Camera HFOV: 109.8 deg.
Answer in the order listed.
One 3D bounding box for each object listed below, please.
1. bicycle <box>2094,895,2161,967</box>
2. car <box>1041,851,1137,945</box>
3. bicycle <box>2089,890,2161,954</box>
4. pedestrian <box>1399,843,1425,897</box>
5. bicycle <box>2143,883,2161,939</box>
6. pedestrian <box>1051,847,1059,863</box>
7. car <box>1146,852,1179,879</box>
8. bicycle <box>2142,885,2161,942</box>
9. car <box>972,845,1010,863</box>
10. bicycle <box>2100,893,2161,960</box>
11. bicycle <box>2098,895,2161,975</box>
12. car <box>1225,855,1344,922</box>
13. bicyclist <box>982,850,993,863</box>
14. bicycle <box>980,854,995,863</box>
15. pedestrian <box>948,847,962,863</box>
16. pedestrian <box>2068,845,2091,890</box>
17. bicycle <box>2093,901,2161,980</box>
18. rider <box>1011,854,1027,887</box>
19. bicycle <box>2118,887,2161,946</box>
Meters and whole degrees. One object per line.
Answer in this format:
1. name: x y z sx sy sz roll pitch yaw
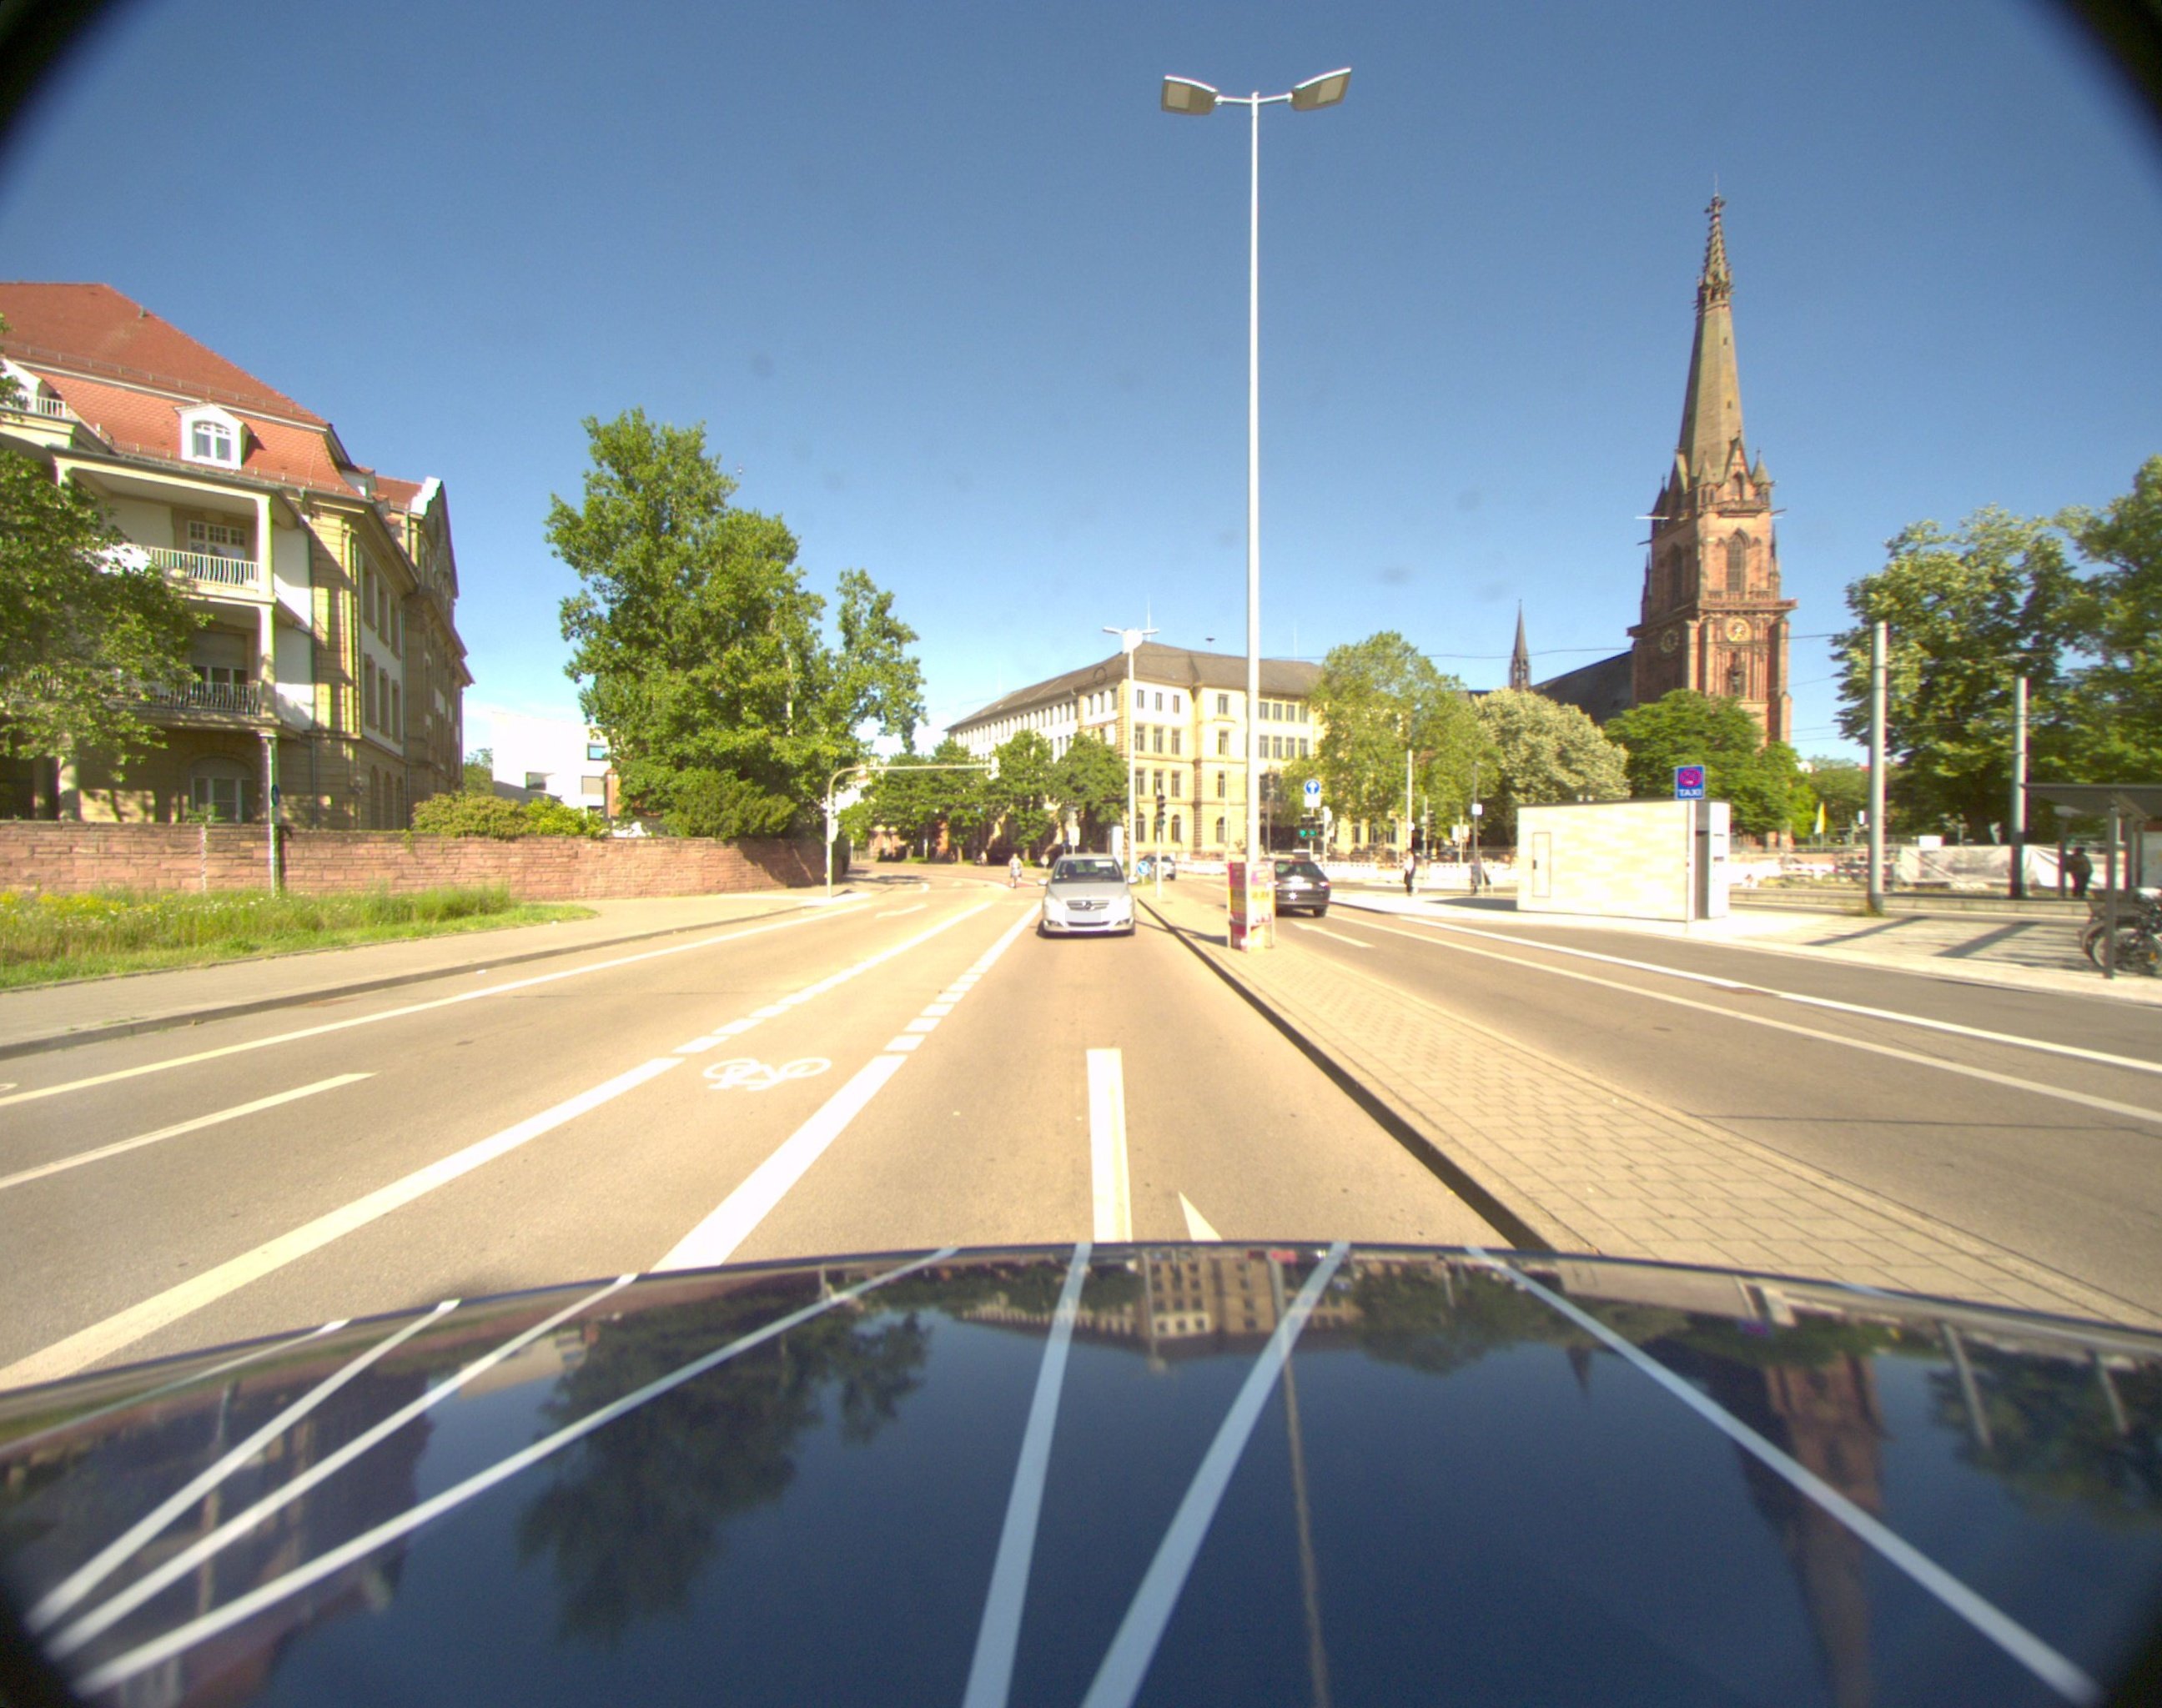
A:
1. bicycle: 16.063 1.150 10.976 0.458 1.003 1.667 -1 1 -33
2. car: 0.110 0.793 15.787 1.706 1.657 3.913 -1 1 -1
3. bicycle: 17.904 1.128 12.427 0.458 1.003 1.667 -1 1 -33
4. pedestrian: 11.549 0.556 26.541 0.693 1.844 0.679 0 1 12
5. bicycle: 20.478 1.064 13.610 0.458 1.003 1.667 -1 1 -33
6. pedestrian: -2.913 0.135 84.446 0.677 1.714 0.588 -1 1 -22
7. car: 5.073 0.678 47.722 1.859 1.533 4.241 1 1 3
8. bicycle: 19.885 1.076 13.199 0.458 1.003 1.667 -1 1 -33
9. car: -10.739 -0.034 90.760 1.994 2.002 4.721 0 1 32
10. bicycle: 17.250 1.148 11.654 0.458 1.003 1.899 -1 1 -33
11. bicycle: 15.191 1.139 10.279 0.458 1.055 1.667 -1 1 -33
12. car: 5.171 0.801 19.955 1.793 1.490 4.574 1 1 -1
13. bicyclist: -10.136 0.252 82.497 0.893 1.377 0.735 1 1 44
14. bicycle: -10.160 0.515 82.537 1.830 0.985 0.735 0 1 44
15. pedestrian: -15.349 0.116 92.344 0.934 1.812 1.394 1 1 45
16. pedestrian: 37.561 0.500 28.578 0.404 1.711 0.419 1 1 38
17. bicycle: 14.690 1.172 9.964 0.458 1.003 1.667 -1 1 -33
18. rider: -3.056 0.812 37.697 0.658 1.610 0.989 -1 1 1
19. bicycle: 19.118 1.099 12.948 0.458 1.003 1.667 -1 1 -33
